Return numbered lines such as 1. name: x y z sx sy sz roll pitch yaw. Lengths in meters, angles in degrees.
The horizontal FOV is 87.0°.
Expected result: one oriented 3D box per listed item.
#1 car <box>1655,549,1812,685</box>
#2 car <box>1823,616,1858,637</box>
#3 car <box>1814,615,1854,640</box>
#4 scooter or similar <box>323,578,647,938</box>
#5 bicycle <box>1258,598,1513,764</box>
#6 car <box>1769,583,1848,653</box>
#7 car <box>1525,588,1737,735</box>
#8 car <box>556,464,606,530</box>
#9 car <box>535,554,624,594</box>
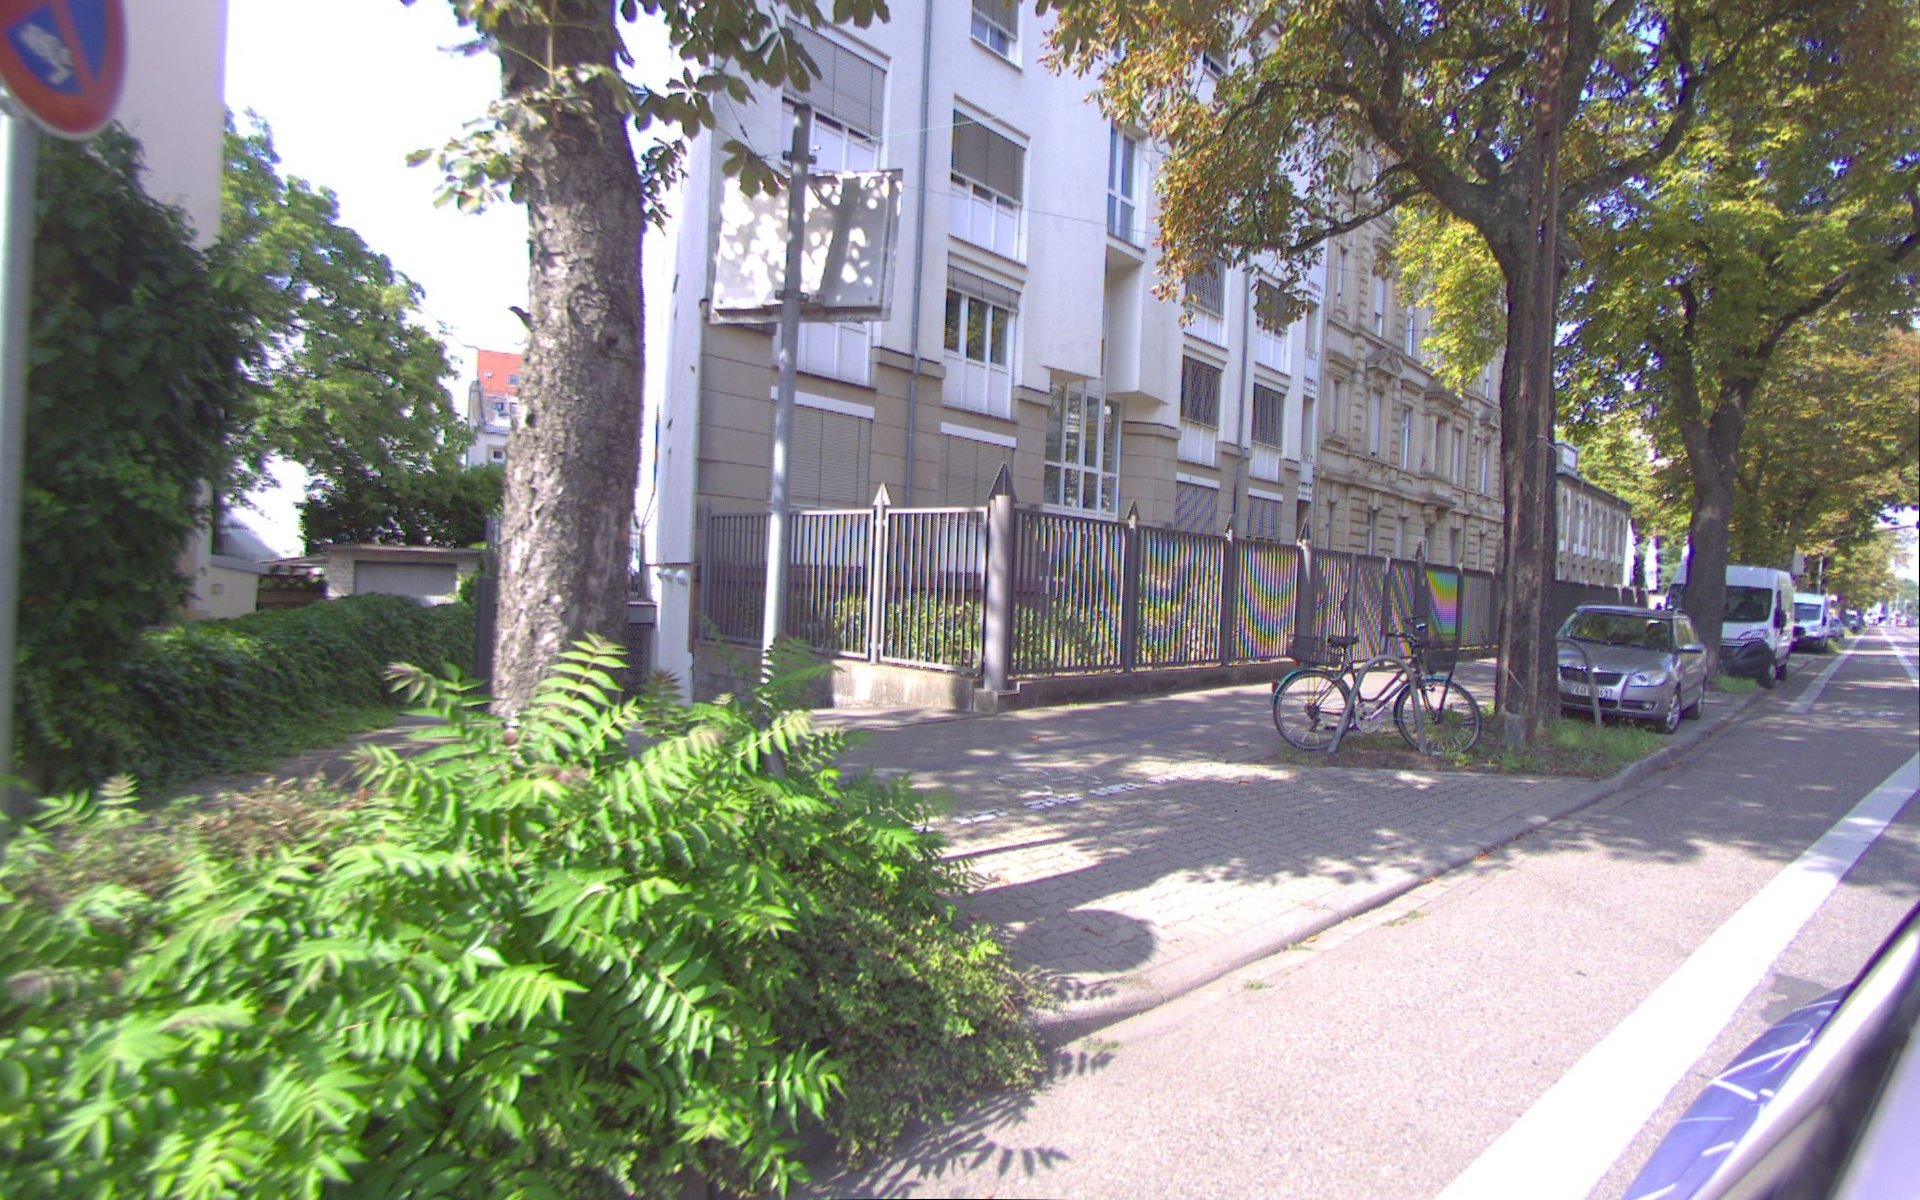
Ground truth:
1. car: 17.069 0.332 22.171 2.046 2.529 6.131 4 2 43
2. car: 62.857 1.866 72.227 1.752 1.374 3.730 4 2 42
3. car: 53.848 1.685 62.327 1.752 1.374 3.730 4 2 42
4. scooter or similar: -1.880 0.551 4.039 1.016 1.211 0.559 1 4 -42
5. bicycle: 3.573 0.671 8.611 1.809 1.179 0.505 4 6 4
6. car: 35.034 0.730 41.730 1.995 2.572 5.774 6 3 43
7. car: 9.187 0.723 13.707 1.608 1.542 4.289 7 4 43
8. car: -18.000 -4.808 47.945 1.958 2.689 4.991 2 1 -22
9. car: -14.481 -0.999 38.618 3.061 1.372 1.409 2 1 -19
